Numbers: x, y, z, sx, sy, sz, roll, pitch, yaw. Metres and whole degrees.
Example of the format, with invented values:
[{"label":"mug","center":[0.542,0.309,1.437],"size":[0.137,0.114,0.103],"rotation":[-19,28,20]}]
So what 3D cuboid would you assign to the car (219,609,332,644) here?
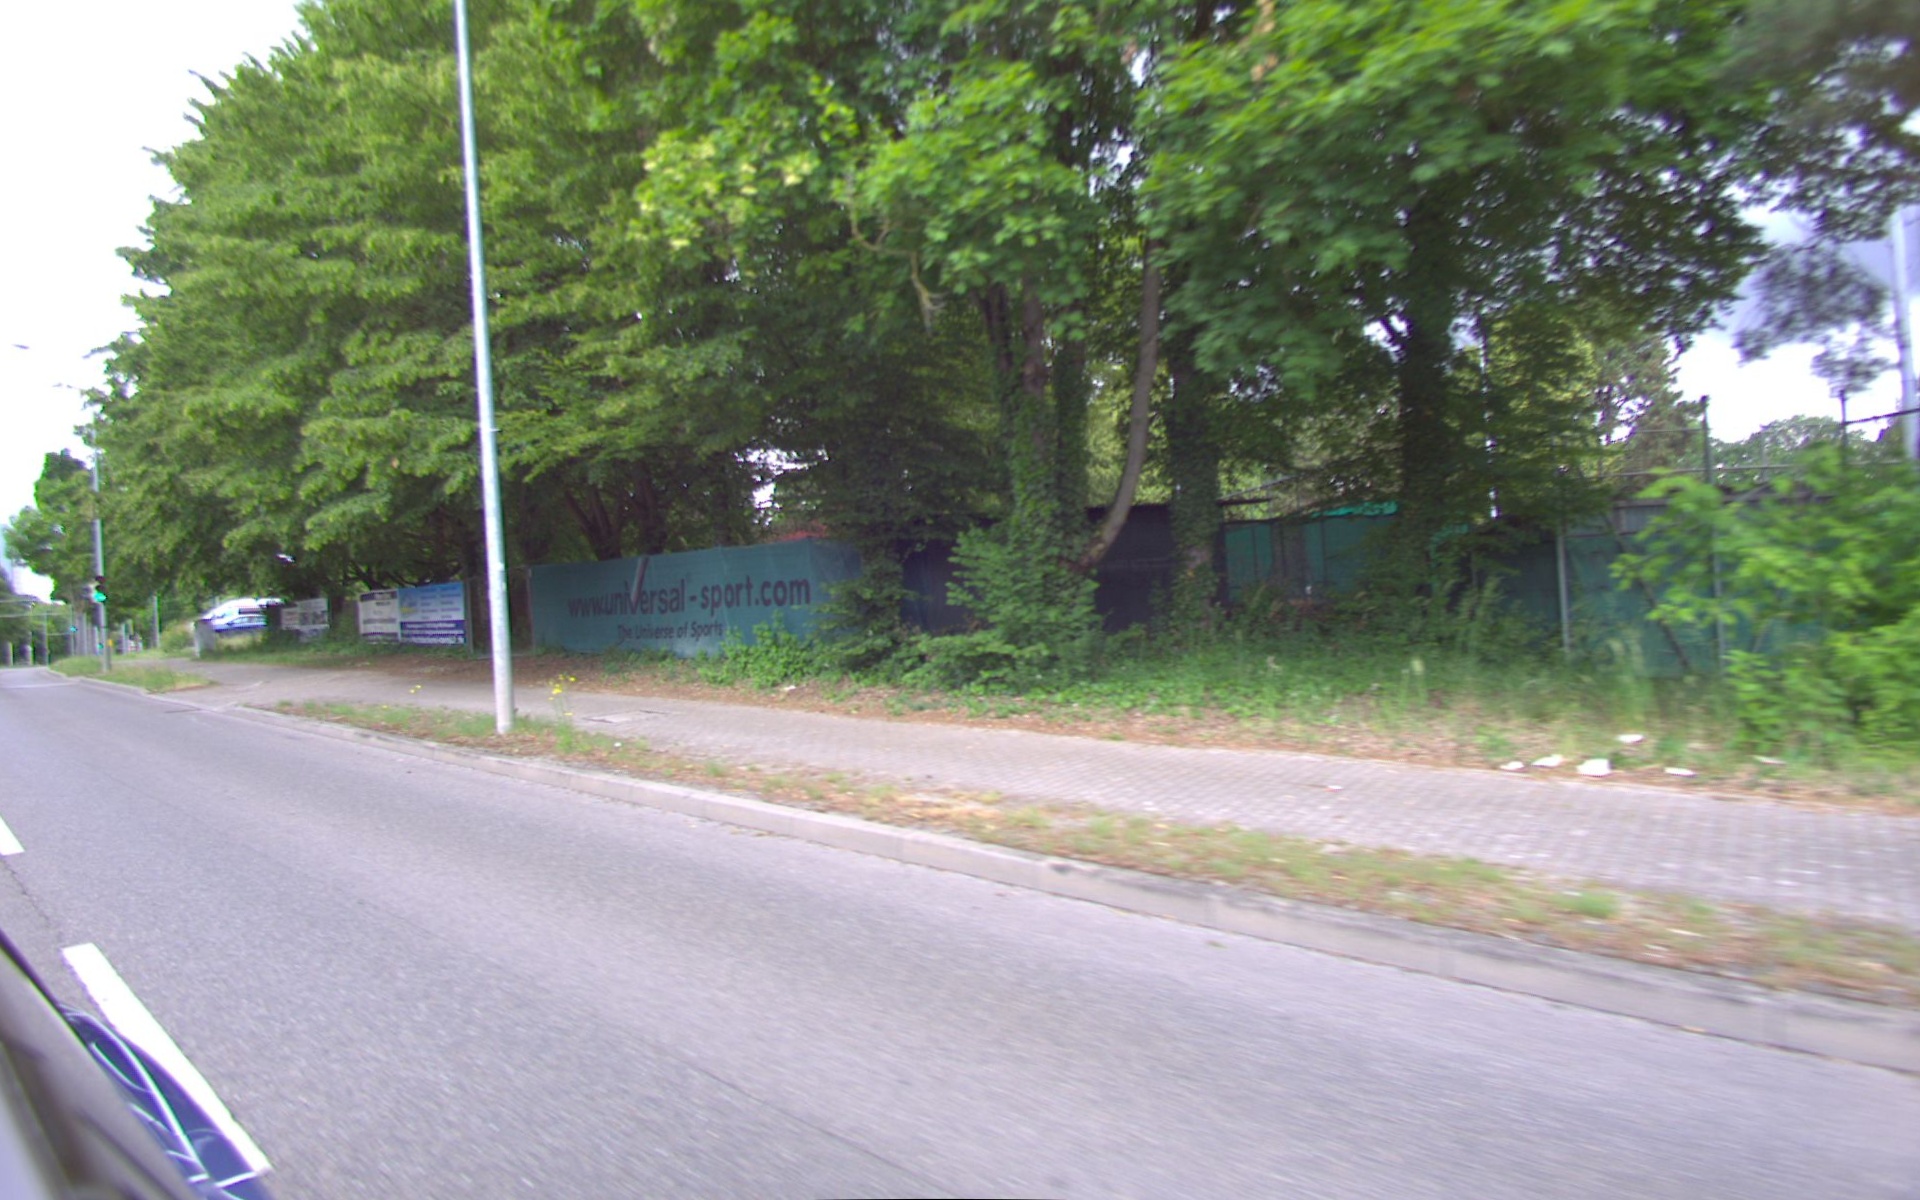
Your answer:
[{"label":"car","center":[-38.398,1.462,56.844],"size":[5.090,1.573,1.889],"rotation":[-4,-1,-38]}]

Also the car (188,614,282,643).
[{"label":"car","center":[-42.156,1.655,58.865],"size":[4.322,1.326,1.566],"rotation":[-4,-1,-38]}]

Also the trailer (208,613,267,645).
[{"label":"trailer","center":[-52.348,2.080,73.367],"size":[3.320,2.073,1.682],"rotation":[-3,-1,-33]}]

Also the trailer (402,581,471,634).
[{"label":"trailer","center":[-33.783,0.512,65.203],"size":[2.614,3.097,7.211],"rotation":[-4,1,-37]}]

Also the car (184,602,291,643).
[{"label":"car","center":[-43.772,1.344,61.350],"size":[5.090,2.122,2.219],"rotation":[-4,-1,-38]}]
